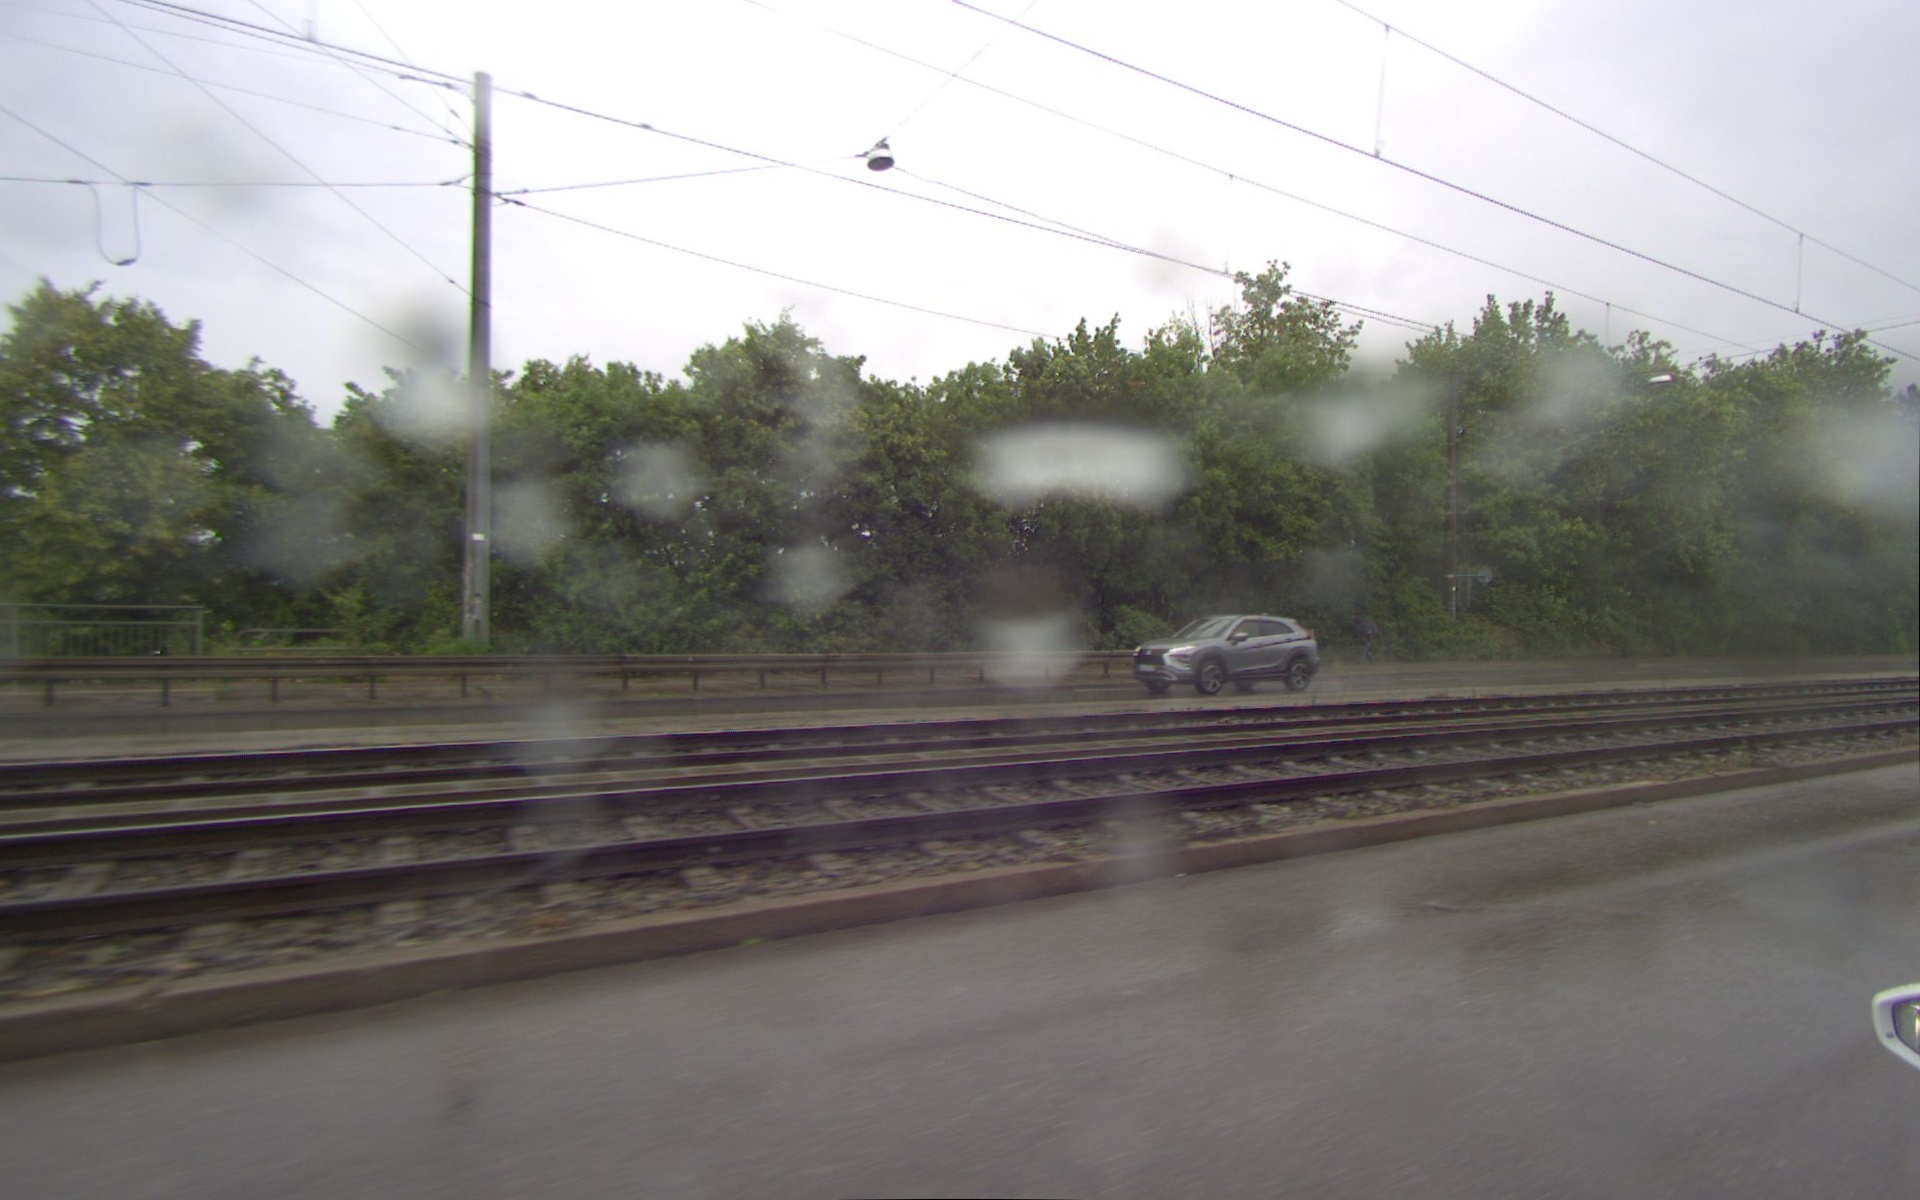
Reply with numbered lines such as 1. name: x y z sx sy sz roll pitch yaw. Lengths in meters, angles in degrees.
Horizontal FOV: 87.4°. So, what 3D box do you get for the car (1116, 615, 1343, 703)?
1. car: 5.866 1.204 21.720 4.817 1.695 1.983 1 -1 -31
